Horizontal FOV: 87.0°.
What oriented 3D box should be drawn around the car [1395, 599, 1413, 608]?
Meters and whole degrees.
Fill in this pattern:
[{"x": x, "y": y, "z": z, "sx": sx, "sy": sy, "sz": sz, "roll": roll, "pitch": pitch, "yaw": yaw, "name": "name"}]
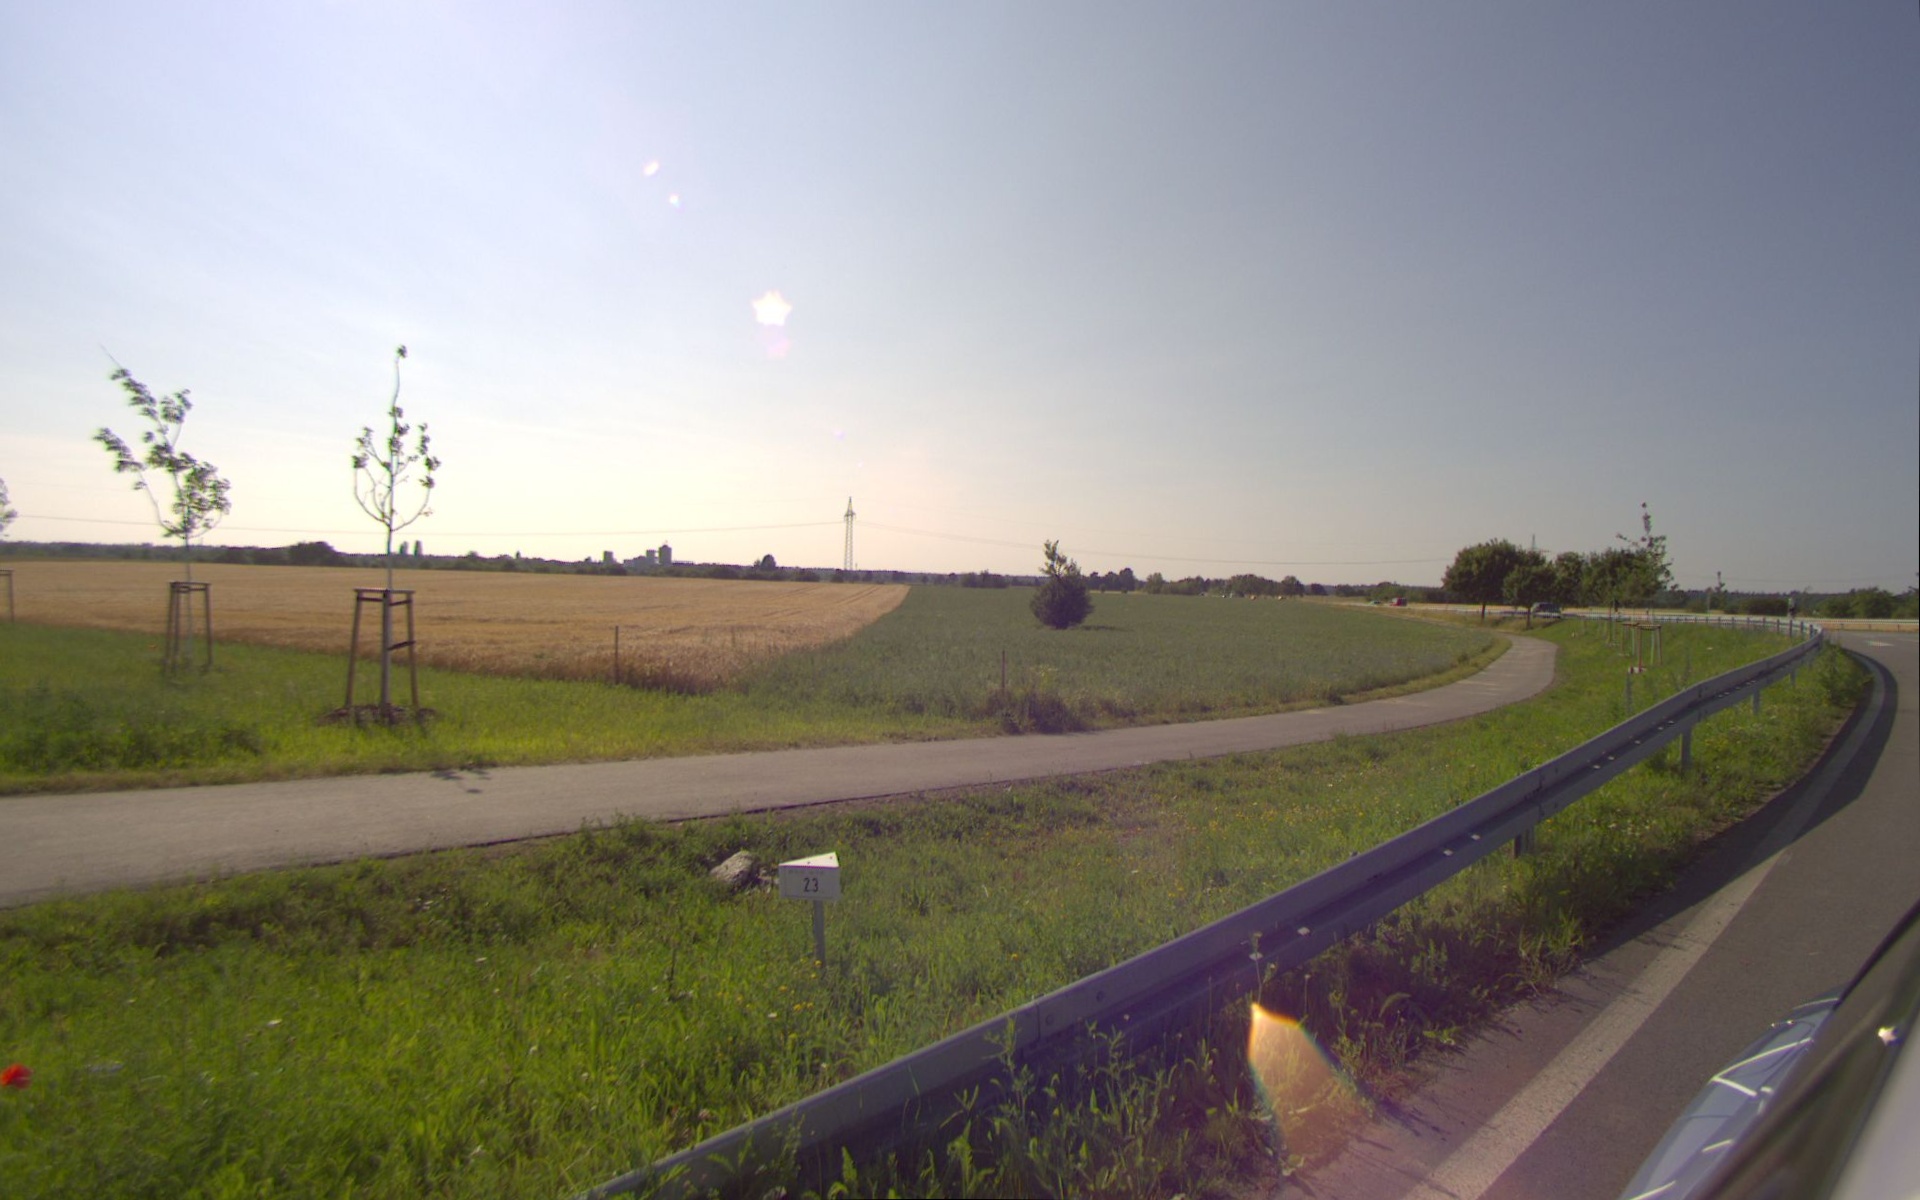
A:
[{"x": 79.314, "y": 0.608, "z": 180.654, "sx": 1.784, "sy": 1.694, "sz": 3.993, "roll": 0, "pitch": 0, "yaw": 6, "name": "car"}]
